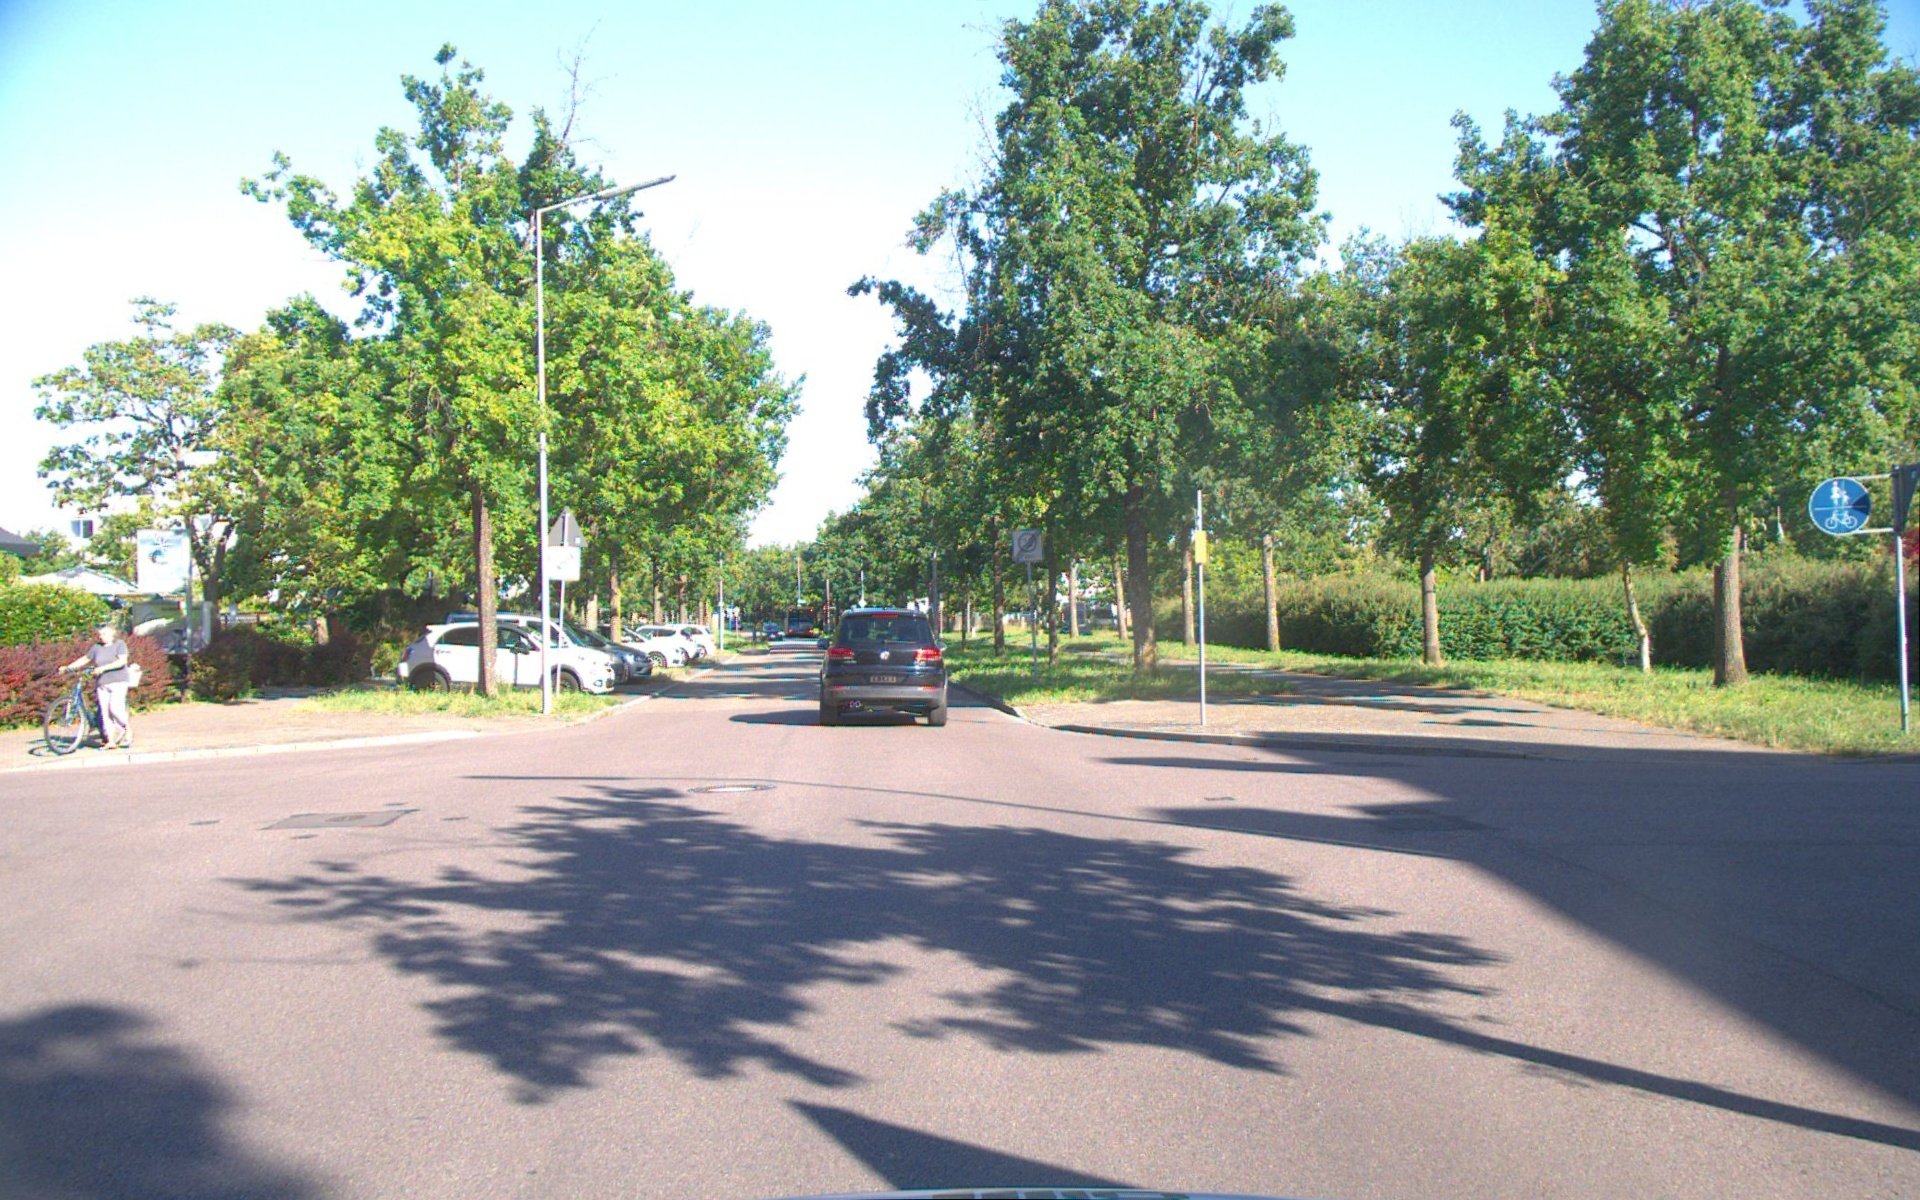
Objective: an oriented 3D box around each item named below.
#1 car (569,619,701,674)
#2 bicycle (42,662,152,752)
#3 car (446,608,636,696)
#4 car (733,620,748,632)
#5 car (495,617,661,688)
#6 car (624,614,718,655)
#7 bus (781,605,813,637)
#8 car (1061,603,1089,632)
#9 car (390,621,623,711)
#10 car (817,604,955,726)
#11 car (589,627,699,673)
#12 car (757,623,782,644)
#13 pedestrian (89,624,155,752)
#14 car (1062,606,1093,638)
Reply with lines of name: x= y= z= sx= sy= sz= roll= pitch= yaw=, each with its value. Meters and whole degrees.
car: x=-10.416 y=1.481 z=53.276 sx=3.937 sy=1.676 sz=1.809 roll=-1 pitch=-1 yaw=-4
bicycle: x=-11.069 y=1.352 z=21.267 sx=0.438 sy=1.057 sz=1.892 roll=-1 pitch=-1 yaw=-1
car: x=-9.656 y=1.184 z=38.351 sx=3.937 sy=1.872 sz=1.895 roll=-1 pitch=0 yaw=-4
car: x=-30.377 y=3.621 z=229.066 sx=1.789 sy=1.578 sz=3.686 roll=-2 pitch=0 yaw=-4
car: x=-9.956 y=1.350 z=43.321 sx=3.937 sy=1.676 sz=1.895 roll=-1 pitch=0 yaw=-4
car: x=-12.943 y=1.542 z=74.186 sx=3.937 sy=1.676 sz=1.809 roll=-1 pitch=0 yaw=-4
bus: x=-15.938 y=2.099 z=162.327 sx=2.870 sy=3.056 sz=5.732 roll=-1 pitch=-1 yaw=-3
car: x=8.480 y=1.292 z=122.186 sx=1.952 sy=2.049 sz=4.002 roll=-1 pitch=0 yaw=4
car: x=-8.962 y=1.293 z=32.959 sx=4.158 sy=1.651 sz=1.895 roll=-1 pitch=-1 yaw=-4
car: x=-1.020 y=0.907 z=24.637 sx=1.800 sy=1.665 sz=3.958 roll=0 pitch=0 yaw=1
car: x=-12.152 y=1.922 z=63.794 sx=3.937 sy=1.676 sz=1.809 roll=-1 pitch=-1 yaw=-4
car: x=-15.819 y=2.775 z=137.480 sx=1.816 sy=1.723 sz=3.952 roll=-1 pitch=-1 yaw=-4
pedestrian: x=-10.623 y=1.099 z=20.978 sx=0.432 sy=1.584 sz=0.801 roll=-1 pitch=-1 yaw=-1
car: x=7.928 y=1.477 z=111.694 sx=2.011 sy=2.049 sz=4.002 roll=-1 pitch=-1 yaw=4
